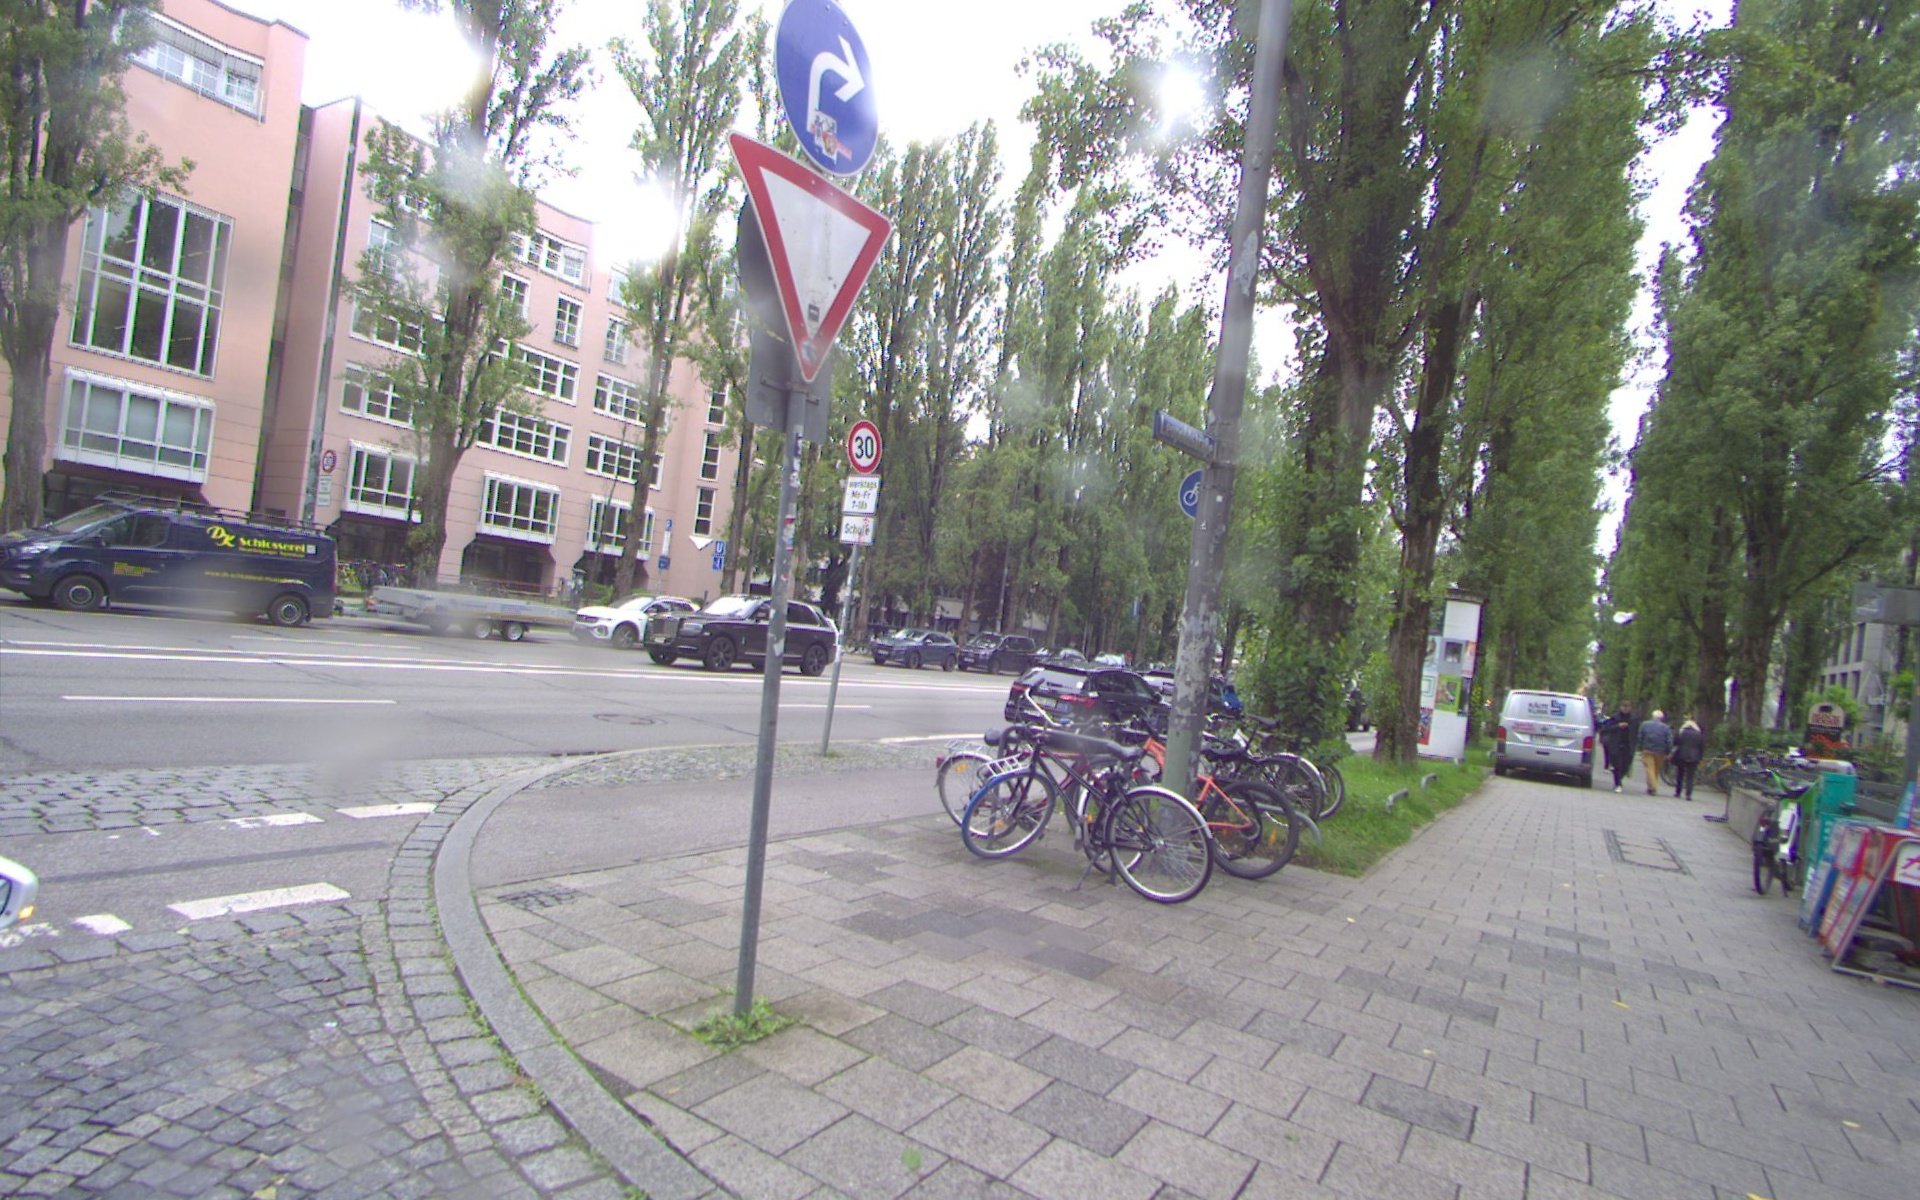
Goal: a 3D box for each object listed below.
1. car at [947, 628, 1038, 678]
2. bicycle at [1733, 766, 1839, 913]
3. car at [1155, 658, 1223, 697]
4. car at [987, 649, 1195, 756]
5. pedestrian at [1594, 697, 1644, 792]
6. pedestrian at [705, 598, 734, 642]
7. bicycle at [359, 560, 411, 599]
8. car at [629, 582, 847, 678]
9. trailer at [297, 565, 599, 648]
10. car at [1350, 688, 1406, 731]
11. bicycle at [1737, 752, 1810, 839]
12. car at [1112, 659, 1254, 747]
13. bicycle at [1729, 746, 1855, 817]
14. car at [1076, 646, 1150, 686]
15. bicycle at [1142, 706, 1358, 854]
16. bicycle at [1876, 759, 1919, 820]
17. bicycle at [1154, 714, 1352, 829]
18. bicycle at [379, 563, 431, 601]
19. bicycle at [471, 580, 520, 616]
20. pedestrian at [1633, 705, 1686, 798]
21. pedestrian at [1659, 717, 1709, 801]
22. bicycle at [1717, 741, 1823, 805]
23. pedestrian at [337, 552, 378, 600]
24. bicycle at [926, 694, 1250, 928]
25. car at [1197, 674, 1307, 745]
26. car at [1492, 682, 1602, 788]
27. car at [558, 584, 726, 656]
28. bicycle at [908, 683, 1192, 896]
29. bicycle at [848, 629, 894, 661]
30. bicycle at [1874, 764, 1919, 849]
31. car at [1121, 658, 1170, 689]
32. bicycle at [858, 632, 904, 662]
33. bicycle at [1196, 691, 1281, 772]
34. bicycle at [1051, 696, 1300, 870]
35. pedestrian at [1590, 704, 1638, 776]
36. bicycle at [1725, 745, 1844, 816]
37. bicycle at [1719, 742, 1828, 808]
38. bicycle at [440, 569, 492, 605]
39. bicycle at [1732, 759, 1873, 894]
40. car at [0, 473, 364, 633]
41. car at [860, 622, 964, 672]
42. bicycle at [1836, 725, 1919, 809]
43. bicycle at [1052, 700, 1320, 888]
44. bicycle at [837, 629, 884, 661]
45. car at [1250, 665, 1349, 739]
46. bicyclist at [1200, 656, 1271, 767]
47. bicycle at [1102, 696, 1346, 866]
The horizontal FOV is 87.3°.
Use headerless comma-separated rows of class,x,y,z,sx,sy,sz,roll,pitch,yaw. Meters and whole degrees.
car,1.563,2.478,46.324,1.967,1.818,4.755,7,-2,31
bicycle,7.962,2.232,9.664,0.580,1.173,1.860,6,-2,43
car,11.407,3.885,49.867,1.841,1.597,4.415,5,-3,32
car,2.498,1.876,18.171,1.729,1.444,4.438,8,-1,35
pedestrian,13.819,3.012,21.100,0.689,1.862,0.705,7,-1,35
pedestrian,-10.017,0.833,41.886,0.698,1.734,0.730,7,-1,33
bicycle,-20.303,-0.715,35.512,1.956,1.138,0.675,7,-1,33
car,-5.059,0.781,23.727,1.967,1.768,5.057,4,-3,31
trailer,-11.978,0.231,24.106,2.365,1.213,6.028,7,-2,32
car,19.219,5.033,46.121,1.719,1.609,3.947,8,-1,30
bicycle,13.107,3.119,16.246,0.578,1.173,1.981,7,-2,32
car,5.076,2.309,22.527,1.720,1.544,3.901,8,-1,33
bicycle,18.406,3.994,22.307,1.999,1.173,0.586,6,-1,34
car,7.768,3.364,50.678,1.967,1.662,4.543,5,-2,32
bicycle,2.712,1.652,9.532,1.806,1.050,0.512,5,-1,37
bicycle,20.167,4.006,21.091,0.577,1.172,1.872,7,-3,17
bicycle,2.943,1.703,10.225,1.806,0.827,0.470,5,-2,37
bicycle,-19.939,-0.643,36.131,1.956,1.138,0.675,7,-1,33
bicycle,-18.043,-0.075,39.041,1.956,1.138,0.675,7,-1,33
pedestrian,14.866,3.200,21.383,0.739,1.824,0.841,7,-1,36
pedestrian,15.258,3.341,21.213,0.687,1.625,0.831,7,-1,36
bicycle,19.611,4.172,24.402,1.839,1.173,0.586,7,-1,34
pedestrian,-18.901,-0.748,31.558,0.698,1.385,0.730,7,-1,33
bicycle,0.765,1.240,6.258,1.843,1.063,0.475,6,-1,27
car,8.118,3.016,27.692,1.719,1.544,4.229,8,-1,31
car,13.505,3.026,23.082,1.785,1.918,5.195,7,-2,32
car,-8.863,0.608,28.372,1.778,1.560,4.225,5,-2,34
bicycle,0.580,1.246,6.976,1.846,1.063,0.475,7,0,34
bicycle,-4.013,2.015,45.168,1.956,1.138,0.675,7,-1,33
bicycle,15.060,3.252,15.839,0.578,1.173,1.866,7,-2,32
car,11.531,4.554,62.461,1.915,1.598,3.606,7,-1,27
bicycle,-3.614,2.140,45.938,1.956,1.138,0.675,7,-1,33
bicycle,4.514,2.118,16.217,0.708,1.160,1.898,3,-5,33
bicycle,1.713,1.429,8.169,1.846,1.063,0.475,5,-2,34
pedestrian,18.613,3.967,28.626,0.905,1.888,1.011,7,-1,37
bicycle,17.866,3.887,21.850,1.839,1.173,0.586,6,-1,34
bicycle,19.274,4.126,23.880,1.839,1.174,0.586,7,0,34
bicycle,-18.779,-0.499,38.237,2.072,1.138,0.675,7,-1,33
bicycle,9.346,2.469,11.242,0.577,1.173,1.870,7,-2,23
car,-14.793,-0.765,19.118,1.990,2.222,5.489,7,-2,32
car,-1.875,1.953,40.715,1.967,1.560,4.317,7,-2,33
bicycle,14.767,2.652,16.227,0.578,1.173,1.866,7,-2,32
bicycle,1.671,1.403,7.619,1.846,1.063,0.475,5,-2,34
bicycle,-4.414,1.988,44.407,1.956,1.138,0.675,7,-1,33
car,11.107,3.313,32.643,1.884,1.946,5.035,8,-1,30
bicyclist,4.406,1.780,16.070,0.713,1.638,0.755,7,-1,35
bicycle,2.284,1.530,8.829,1.899,1.118,0.512,6,-1,32
